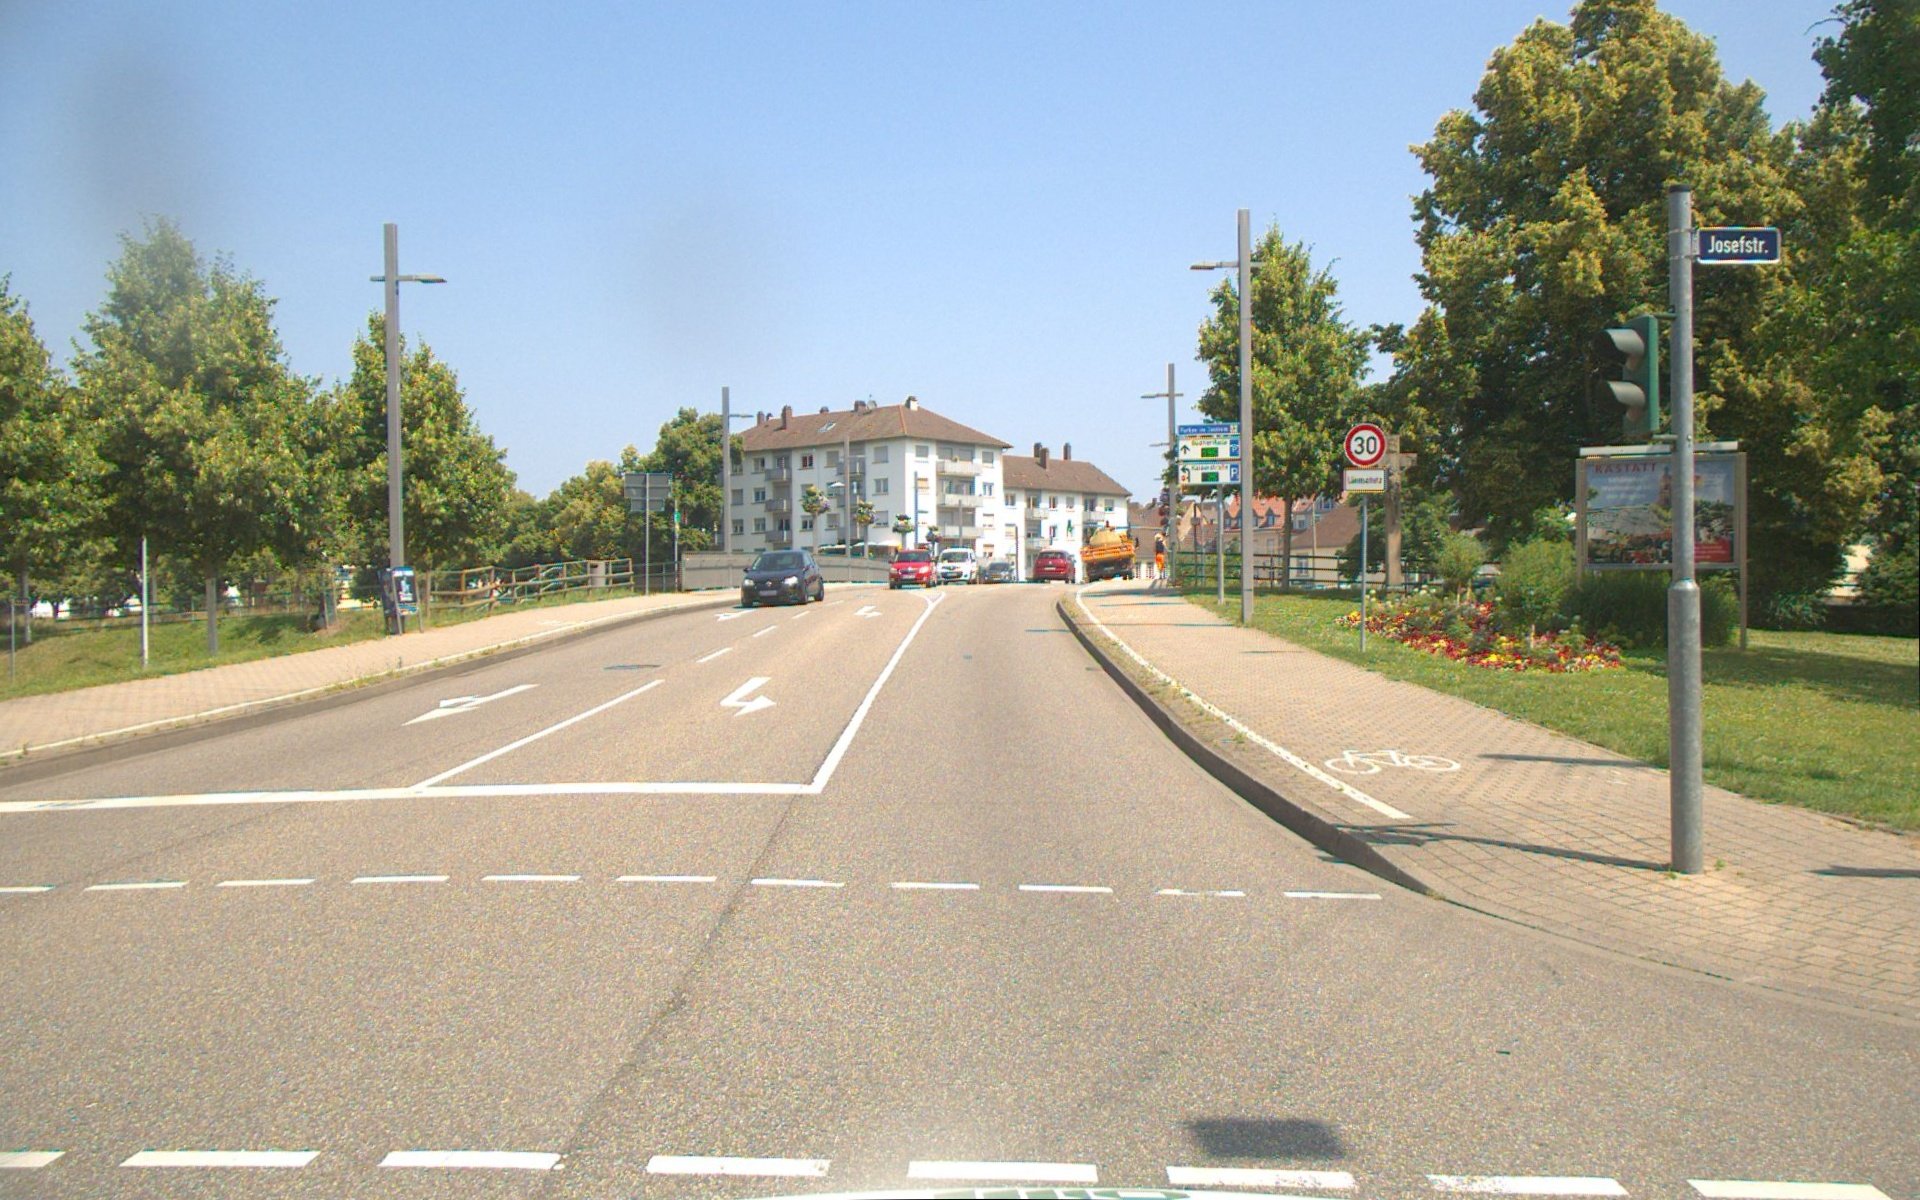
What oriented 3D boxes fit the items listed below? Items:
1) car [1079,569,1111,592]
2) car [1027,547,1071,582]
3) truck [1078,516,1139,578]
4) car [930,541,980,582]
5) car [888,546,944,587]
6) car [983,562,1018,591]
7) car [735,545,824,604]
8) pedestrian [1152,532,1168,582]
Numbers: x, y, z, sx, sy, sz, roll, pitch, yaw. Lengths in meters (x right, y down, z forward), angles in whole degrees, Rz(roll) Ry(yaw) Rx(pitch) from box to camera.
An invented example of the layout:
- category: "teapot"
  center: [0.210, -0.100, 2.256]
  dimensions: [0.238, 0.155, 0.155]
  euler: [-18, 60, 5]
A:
- category: "car"
  center: [9.195, -1.328, 112.628]
  dimensions: [1.995, 1.529, 4.421]
  euler: [1, 0, 7]
- category: "car"
  center: [4.404, -1.724, 81.629]
  dimensions: [1.948, 1.641, 4.345]
  euler: [-1, 1, 5]
- category: "truck"
  center: [6.933, -2.414, 76.786]
  dimensions: [2.550, 2.738, 5.828]
  euler: [-1, 1, 8]
- category: "car"
  center: [-0.214, -1.932, 82.899]
  dimensions: [1.798, 1.892, 4.668]
  euler: [-2, 1, 8]
- category: "car"
  center: [-1.680, -1.263, 63.930]
  dimensions: [1.612, 1.489, 3.864]
  euler: [0, 0, 7]
- category: "car"
  center: [2.527, -1.468, 102.506]
  dimensions: [1.700, 1.669, 3.925]
  euler: [-3, 1, 8]
- category: "car"
  center: [-4.899, -0.677, 45.362]
  dimensions: [1.678, 1.511, 4.034]
  euler: [1, 0, 5]
- category: "pedestrian"
  center: [8.047, -1.740, 66.528]
  dimensions: [0.536, 1.994, 0.672]
  euler: [-1, 0, -3]
